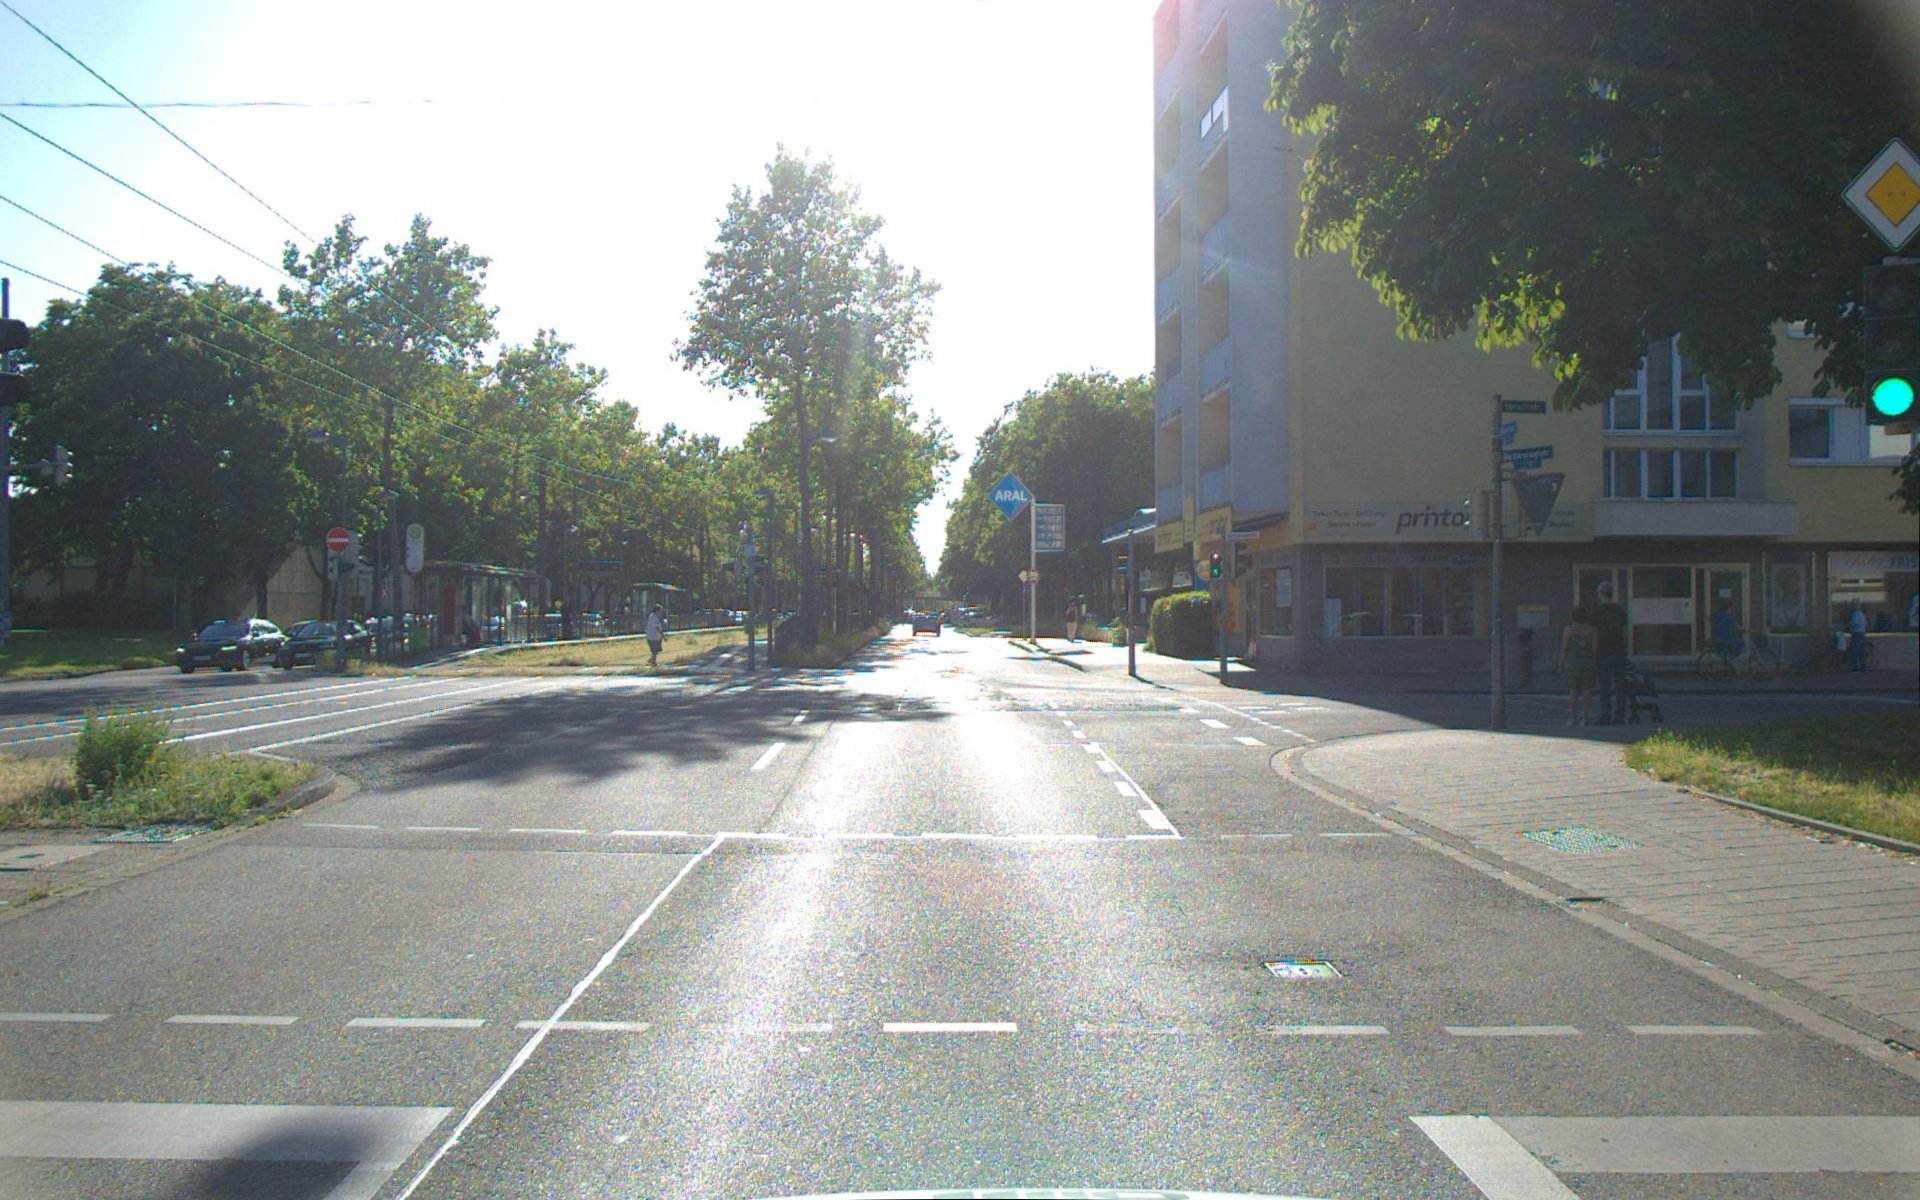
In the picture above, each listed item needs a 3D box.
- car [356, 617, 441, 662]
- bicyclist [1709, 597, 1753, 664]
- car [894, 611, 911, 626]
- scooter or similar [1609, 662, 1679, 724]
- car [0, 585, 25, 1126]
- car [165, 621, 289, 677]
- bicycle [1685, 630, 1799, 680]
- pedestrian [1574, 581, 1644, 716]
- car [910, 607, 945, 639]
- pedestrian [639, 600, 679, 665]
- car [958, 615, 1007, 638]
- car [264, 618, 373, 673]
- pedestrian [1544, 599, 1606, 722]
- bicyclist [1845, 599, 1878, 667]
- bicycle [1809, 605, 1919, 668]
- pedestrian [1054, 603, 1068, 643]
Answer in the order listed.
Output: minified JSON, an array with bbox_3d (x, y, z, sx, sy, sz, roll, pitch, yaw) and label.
[{"bbox_3d":[-18.871,1.303,55.748,1.534,1.427,3.914,2,-1,-1],"label":"car"},{"bbox_3d":[17.560,0.681,37.686,0.752,1.496,0.898,-1,0,16],"label":"bicyclist"},{"bbox_3d":[-6.618,2.069,188.541,1.856,1.639,4.498,2,-1,-2],"label":"car"},{"bbox_3d":[8.808,1.194,21.306,0.586,0.750,0.681,2,-1,-2],"label":"scooter or similar"},{"bbox_3d":[-2.861,0.707,2.769,1.670,1.535,3.676,2,-1,-21],"label":"car"},{"bbox_3d":[-21.454,1.403,48.589,1.770,1.560,4.359,0,-1,-1],"label":"car"},{"bbox_3d":[17.766,1.246,37.615,2.203,1.004,0.789,1,4,14],"label":"bicycle"},{"bbox_3d":[8.450,0.622,21.543,0.714,1.711,0.533,2,-1,11],"label":"pedestrian"},{"bbox_3d":[-2.007,1.415,103.474,1.964,1.892,4.001,2,-1,2],"label":"car"},{"bbox_3d":[-7.751,0.827,42.593,0.873,1.634,0.613,2,-1,-1],"label":"pedestrian"},{"bbox_3d":[1.977,2.334,145.079,3.945,1.780,1.737,3,-1,-30],"label":"car"},{"bbox_3d":[-19.116,1.330,49.477,1.653,1.560,4.359,0,-1,-1],"label":"car"},{"bbox_3d":[7.991,0.782,21.503,0.633,1.549,0.496,2,-1,11],"label":"pedestrian"},{"bbox_3d":[21.734,0.793,39.878,0.516,1.594,0.464,2,-1,-4],"label":"bicyclist"},{"bbox_3d":[22.129,0.890,40.470,2.421,1.424,0.608,2,-1,-3],"label":"bicycle"},{"bbox_3d":[4.549,1.019,74.494,0.562,1.778,0.506,2,-1,-2],"label":"pedestrian"}]
